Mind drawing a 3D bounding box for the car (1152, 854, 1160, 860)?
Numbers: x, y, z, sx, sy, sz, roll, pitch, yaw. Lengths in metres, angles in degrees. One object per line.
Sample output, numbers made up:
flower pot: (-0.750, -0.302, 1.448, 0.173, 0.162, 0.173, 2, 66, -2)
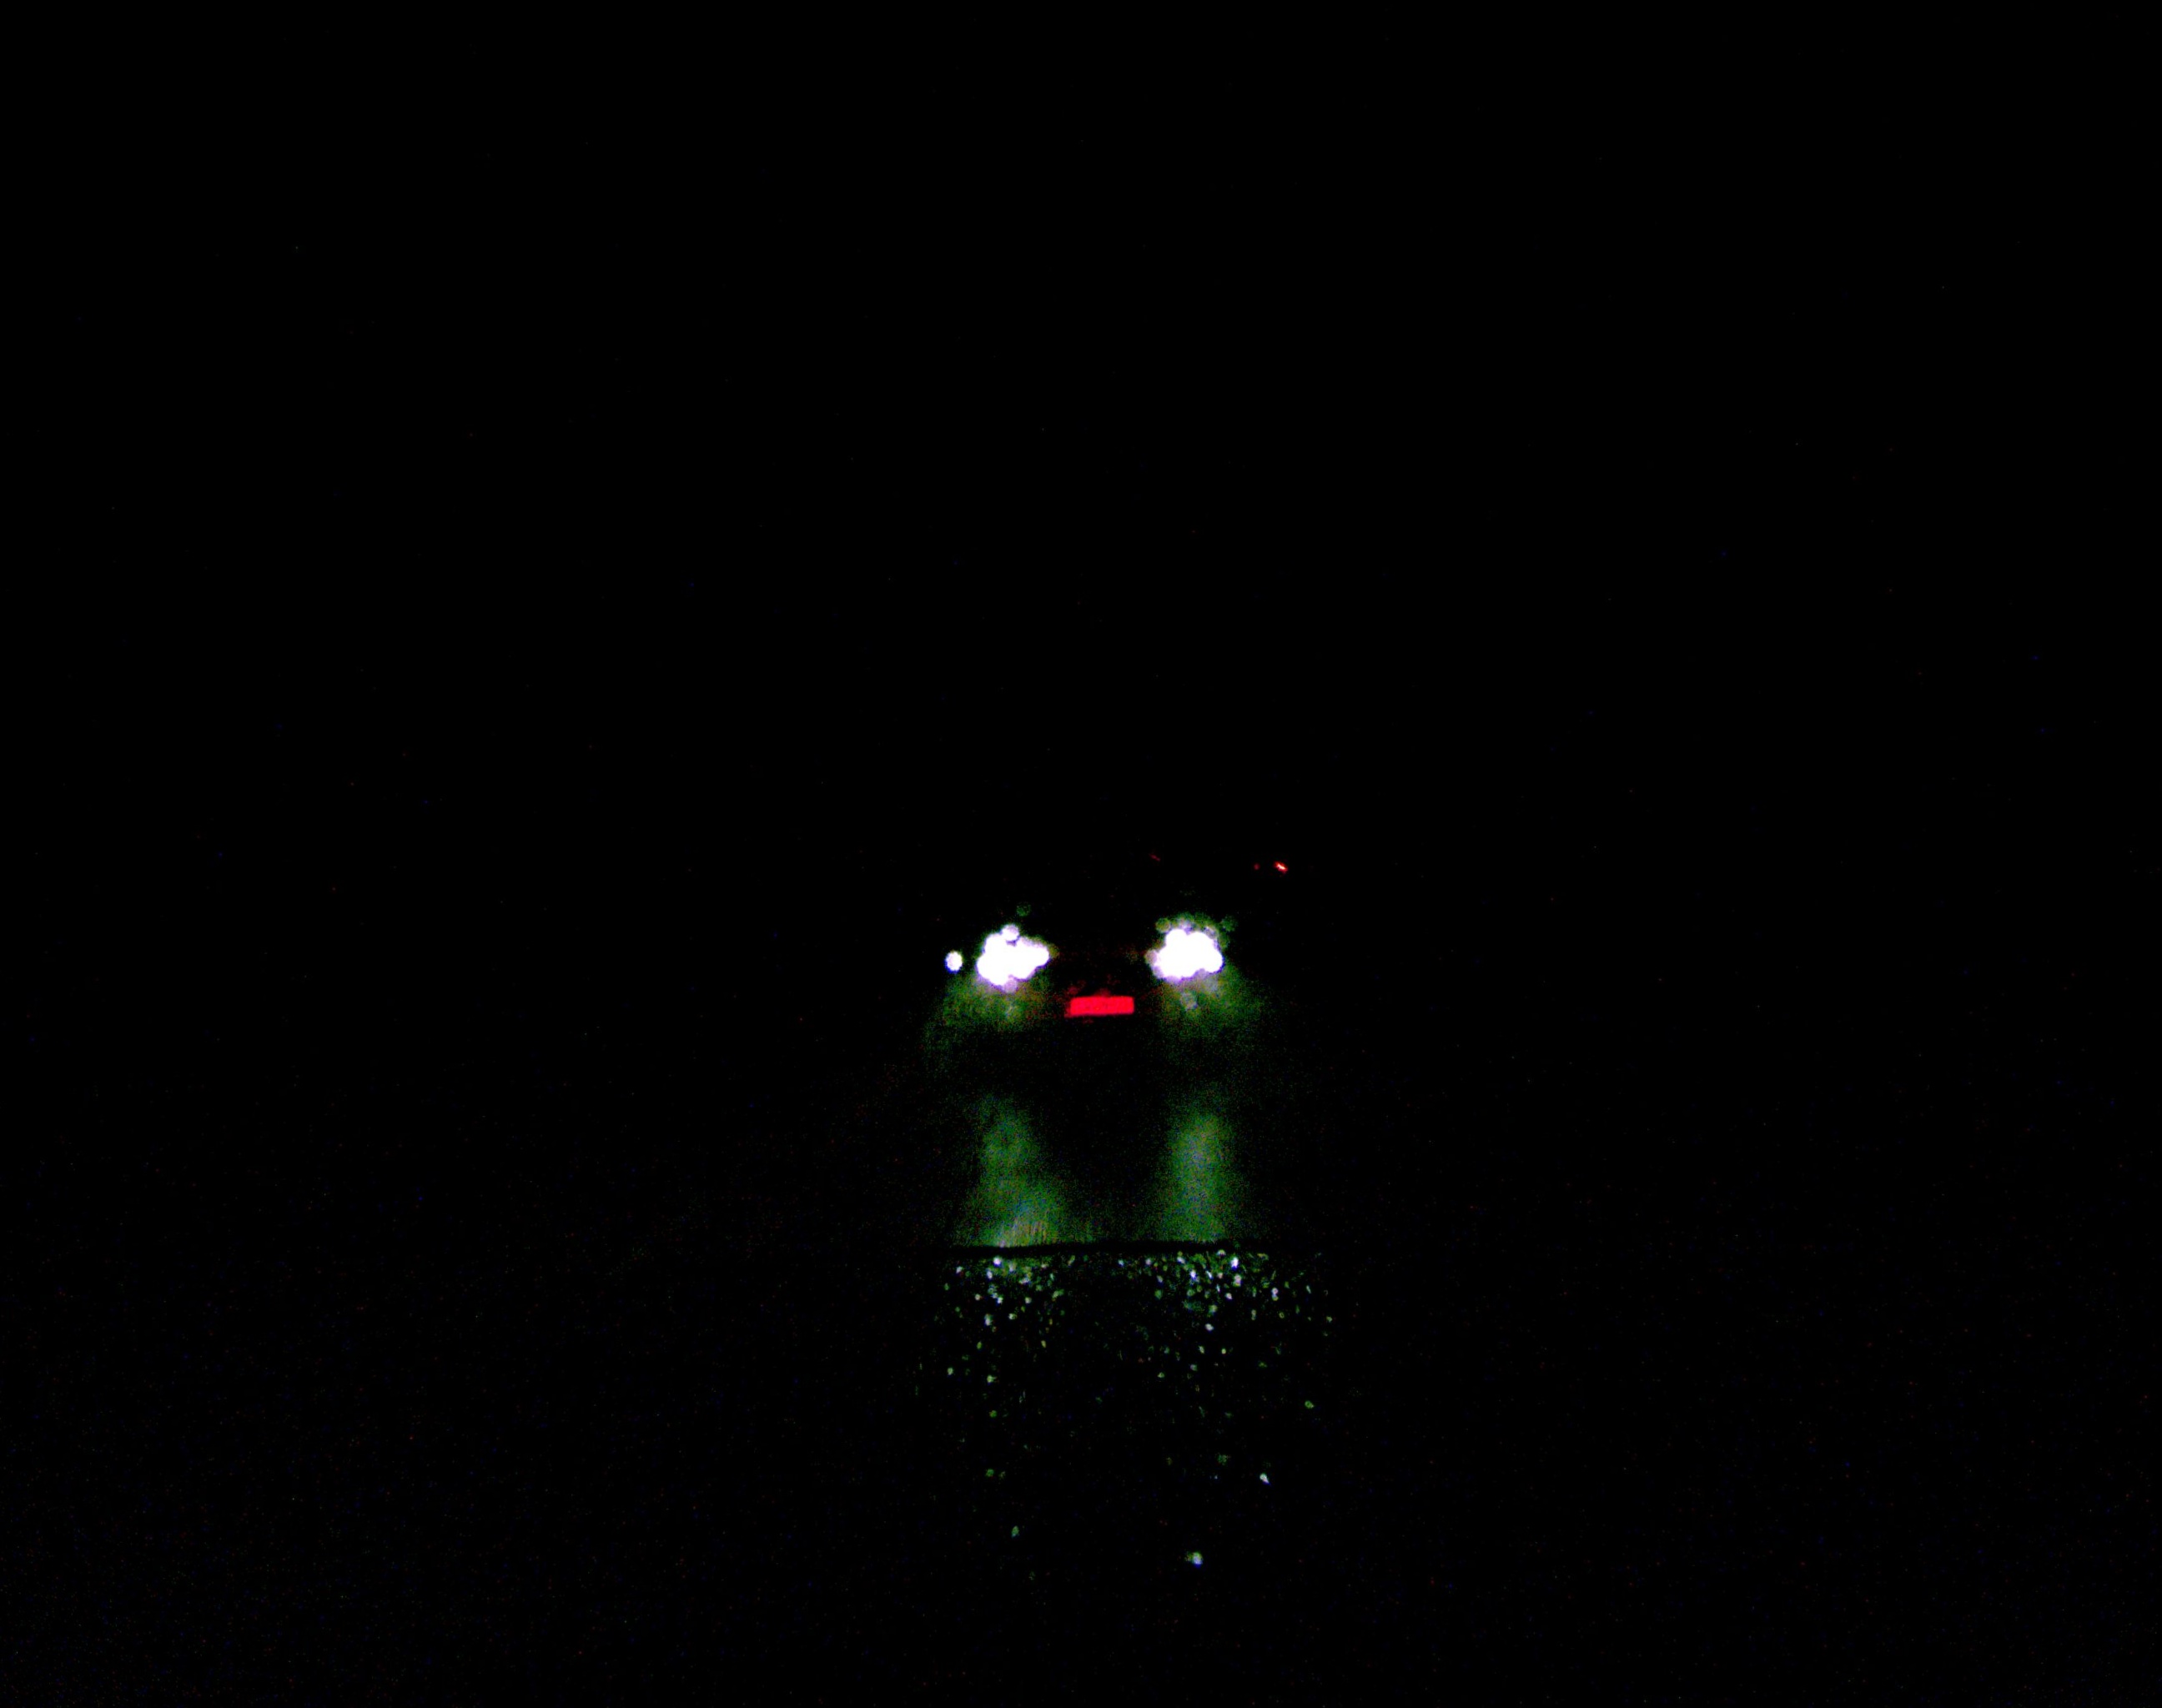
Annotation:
car: (19.081, 0.719, 193.504, 1.867, 1.535, 4.230, -2, -1, 2)

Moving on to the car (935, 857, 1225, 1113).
car: (0.097, 0.889, 7.285, 1.862, 1.601, 4.420, -3, 0, 3)
